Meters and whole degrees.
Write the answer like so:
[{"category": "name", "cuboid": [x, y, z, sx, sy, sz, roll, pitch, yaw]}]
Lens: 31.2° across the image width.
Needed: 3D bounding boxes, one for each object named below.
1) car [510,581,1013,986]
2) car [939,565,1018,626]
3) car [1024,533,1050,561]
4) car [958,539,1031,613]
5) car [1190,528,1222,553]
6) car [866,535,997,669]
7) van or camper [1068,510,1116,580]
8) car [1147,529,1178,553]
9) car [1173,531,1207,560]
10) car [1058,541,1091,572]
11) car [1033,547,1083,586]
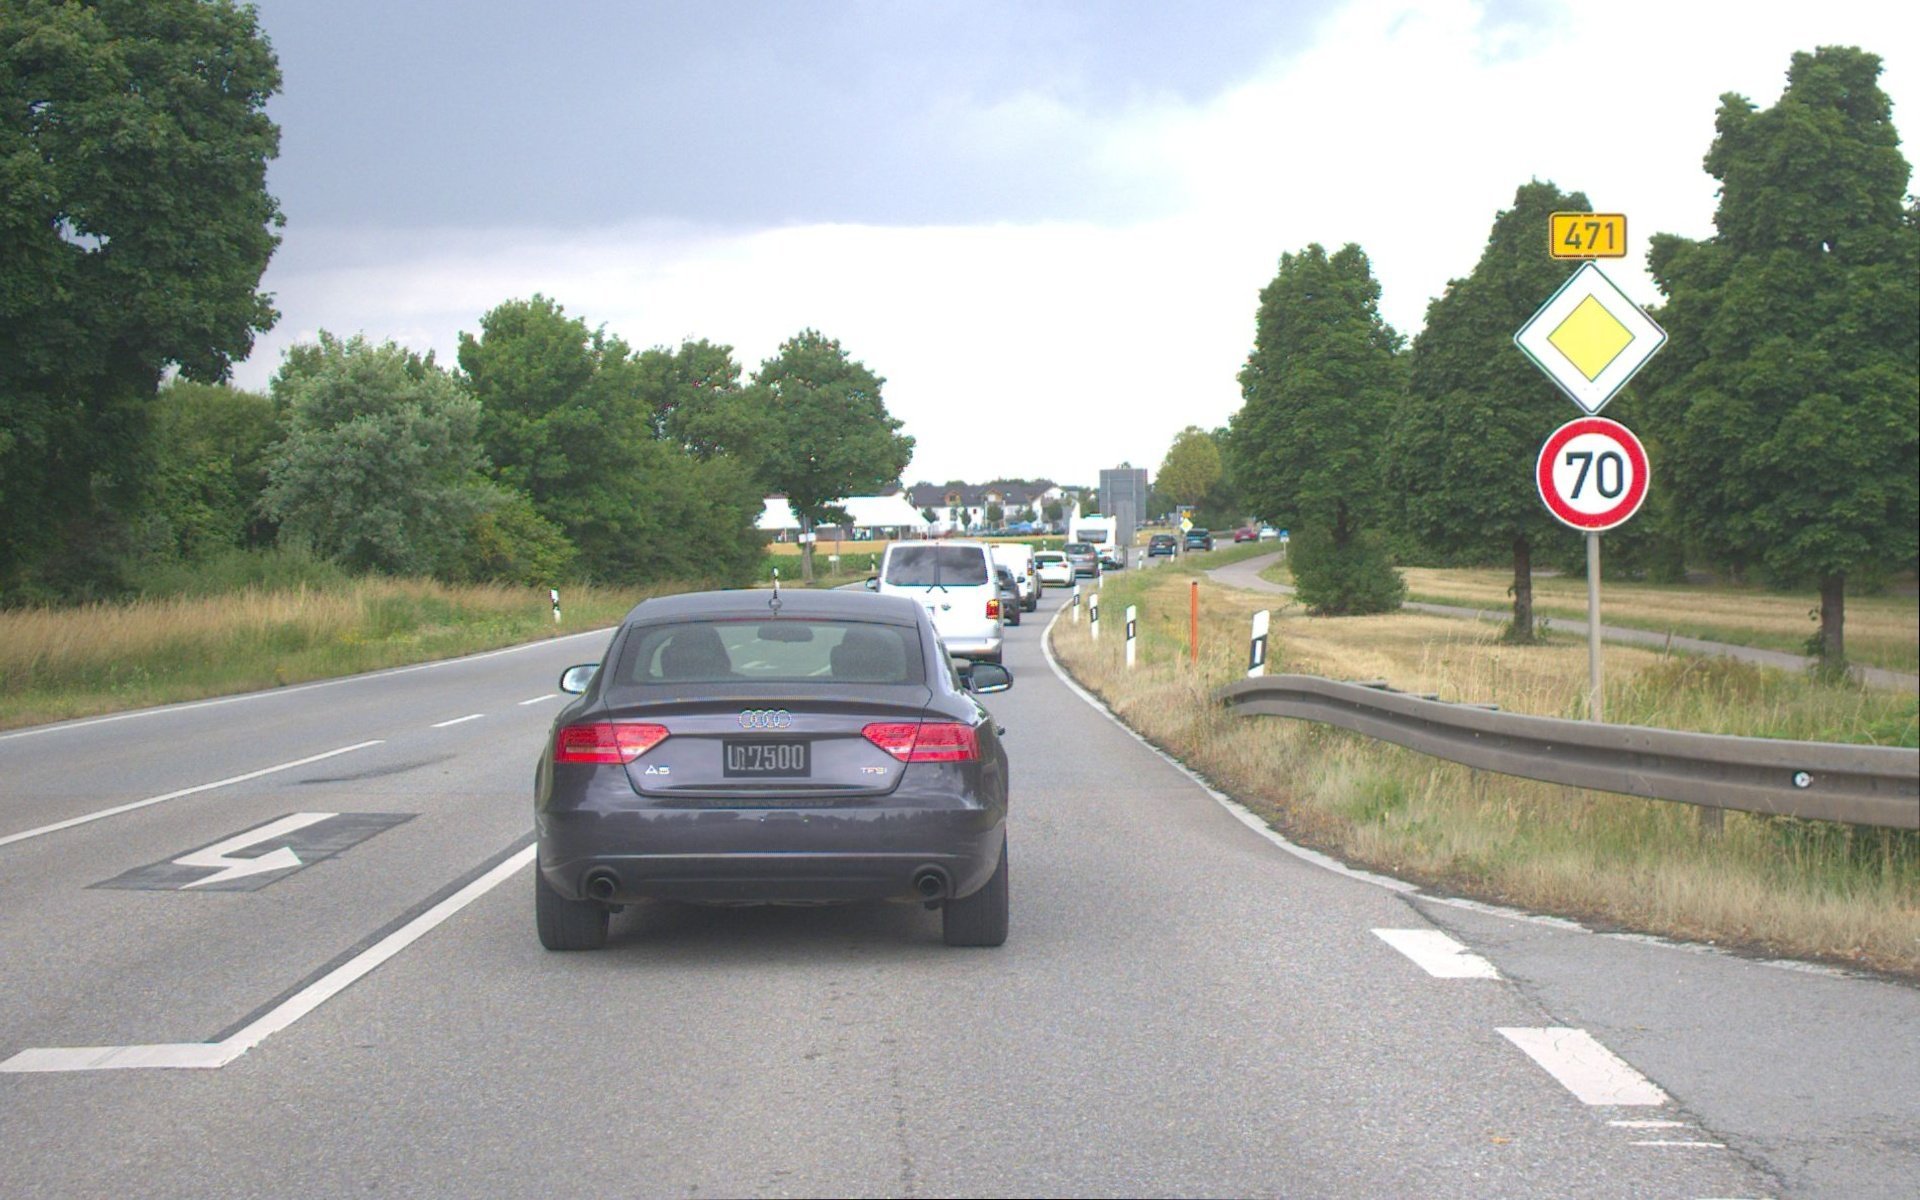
[{"category": "car", "cuboid": [-0.735, 0.643, 14.238, 1.783, 1.372, 4.000, 0, 1, -1]}, {"category": "car", "cuboid": [0.467, -0.130, 84.103, 1.796, 1.459, 3.248, 0, 1, 3]}, {"category": "car", "cuboid": [5.021, -3.433, 224.152, 1.595, 1.796, 3.201, 0, 1, 0]}, {"category": "car", "cuboid": [1.027, -0.702, 99.365, 1.993, 2.081, 4.000, -1, 1, 2]}, {"category": "car", "cuboid": [16.013, -3.894, 223.647, 1.821, 1.591, 4.000, 0, 1, 0]}, {"category": "car", "cuboid": [-0.432, -0.010, 50.432, 1.838, 1.876, 4.000, 0, 1, -1]}, {"category": "van or camper", "cuboid": [6.593, -2.732, 171.356, 2.340, 3.469, 5.718, 0, 1, 3]}, {"category": "car", "cuboid": [12.690, -3.706, 215.213, 1.719, 1.446, 4.000, 0, 1, 0]}, {"category": "car", "cuboid": [15.995, -3.796, 239.457, 1.993, 2.007, 4.000, 0, 1, -1]}, {"category": "car", "cuboid": [5.067, -1.922, 152.127, 1.258, 1.349, 3.465, 0, 1, 5]}, {"category": "car", "cuboid": [3.872, -1.337, 135.574, 1.736, 1.509, 3.746, 0, 1, 5]}]
